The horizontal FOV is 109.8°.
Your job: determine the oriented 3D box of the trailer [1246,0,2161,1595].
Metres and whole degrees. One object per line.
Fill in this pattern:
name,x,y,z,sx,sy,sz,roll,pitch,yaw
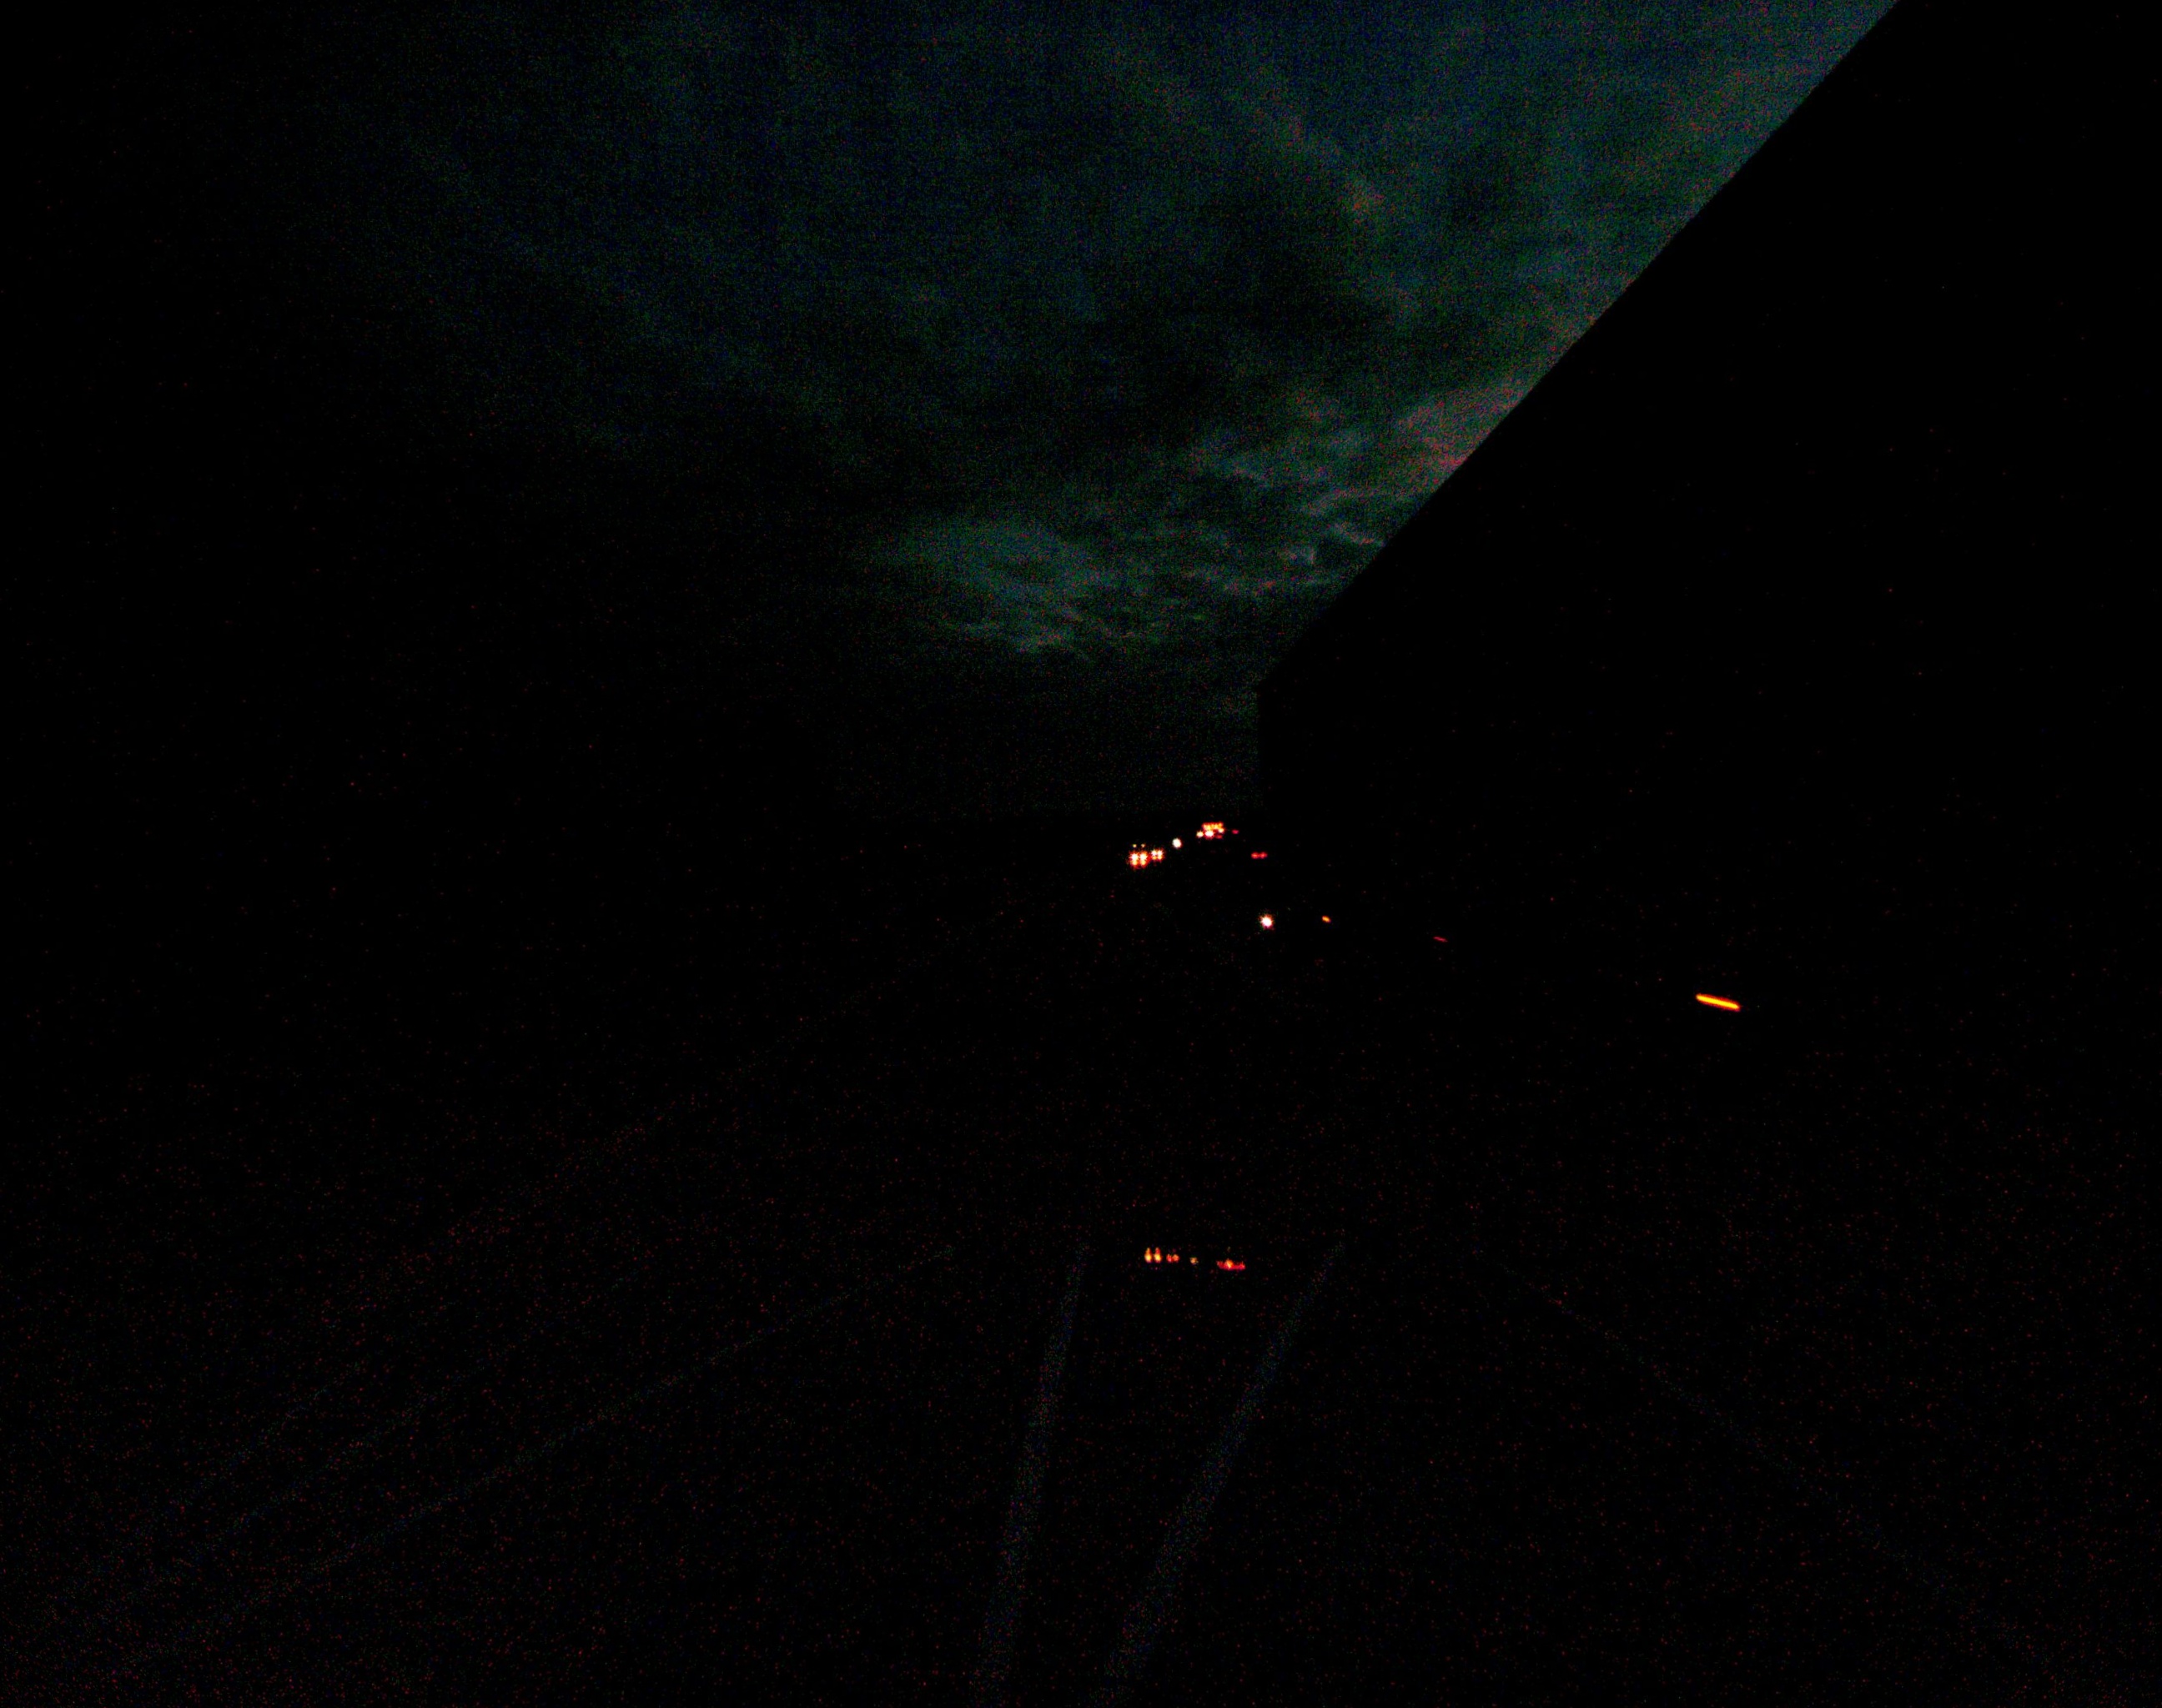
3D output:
trailer,3.746,-0.350,3.569,2.781,3.892,14.819,-2,0,1

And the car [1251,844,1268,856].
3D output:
car,29.834,-0.682,127.055,1.998,2.002,4.001,-1,0,4

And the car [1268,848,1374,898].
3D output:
car,8.122,0.592,26.230,1.999,1.489,4.547,-2,0,-3

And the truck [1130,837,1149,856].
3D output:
truck,13.301,-1.694,174.535,3.353,4.293,11.324,-2,0,0

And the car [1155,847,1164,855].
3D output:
car,21.760,-0.892,211.828,1.999,2.002,3.999,-1,0,0
